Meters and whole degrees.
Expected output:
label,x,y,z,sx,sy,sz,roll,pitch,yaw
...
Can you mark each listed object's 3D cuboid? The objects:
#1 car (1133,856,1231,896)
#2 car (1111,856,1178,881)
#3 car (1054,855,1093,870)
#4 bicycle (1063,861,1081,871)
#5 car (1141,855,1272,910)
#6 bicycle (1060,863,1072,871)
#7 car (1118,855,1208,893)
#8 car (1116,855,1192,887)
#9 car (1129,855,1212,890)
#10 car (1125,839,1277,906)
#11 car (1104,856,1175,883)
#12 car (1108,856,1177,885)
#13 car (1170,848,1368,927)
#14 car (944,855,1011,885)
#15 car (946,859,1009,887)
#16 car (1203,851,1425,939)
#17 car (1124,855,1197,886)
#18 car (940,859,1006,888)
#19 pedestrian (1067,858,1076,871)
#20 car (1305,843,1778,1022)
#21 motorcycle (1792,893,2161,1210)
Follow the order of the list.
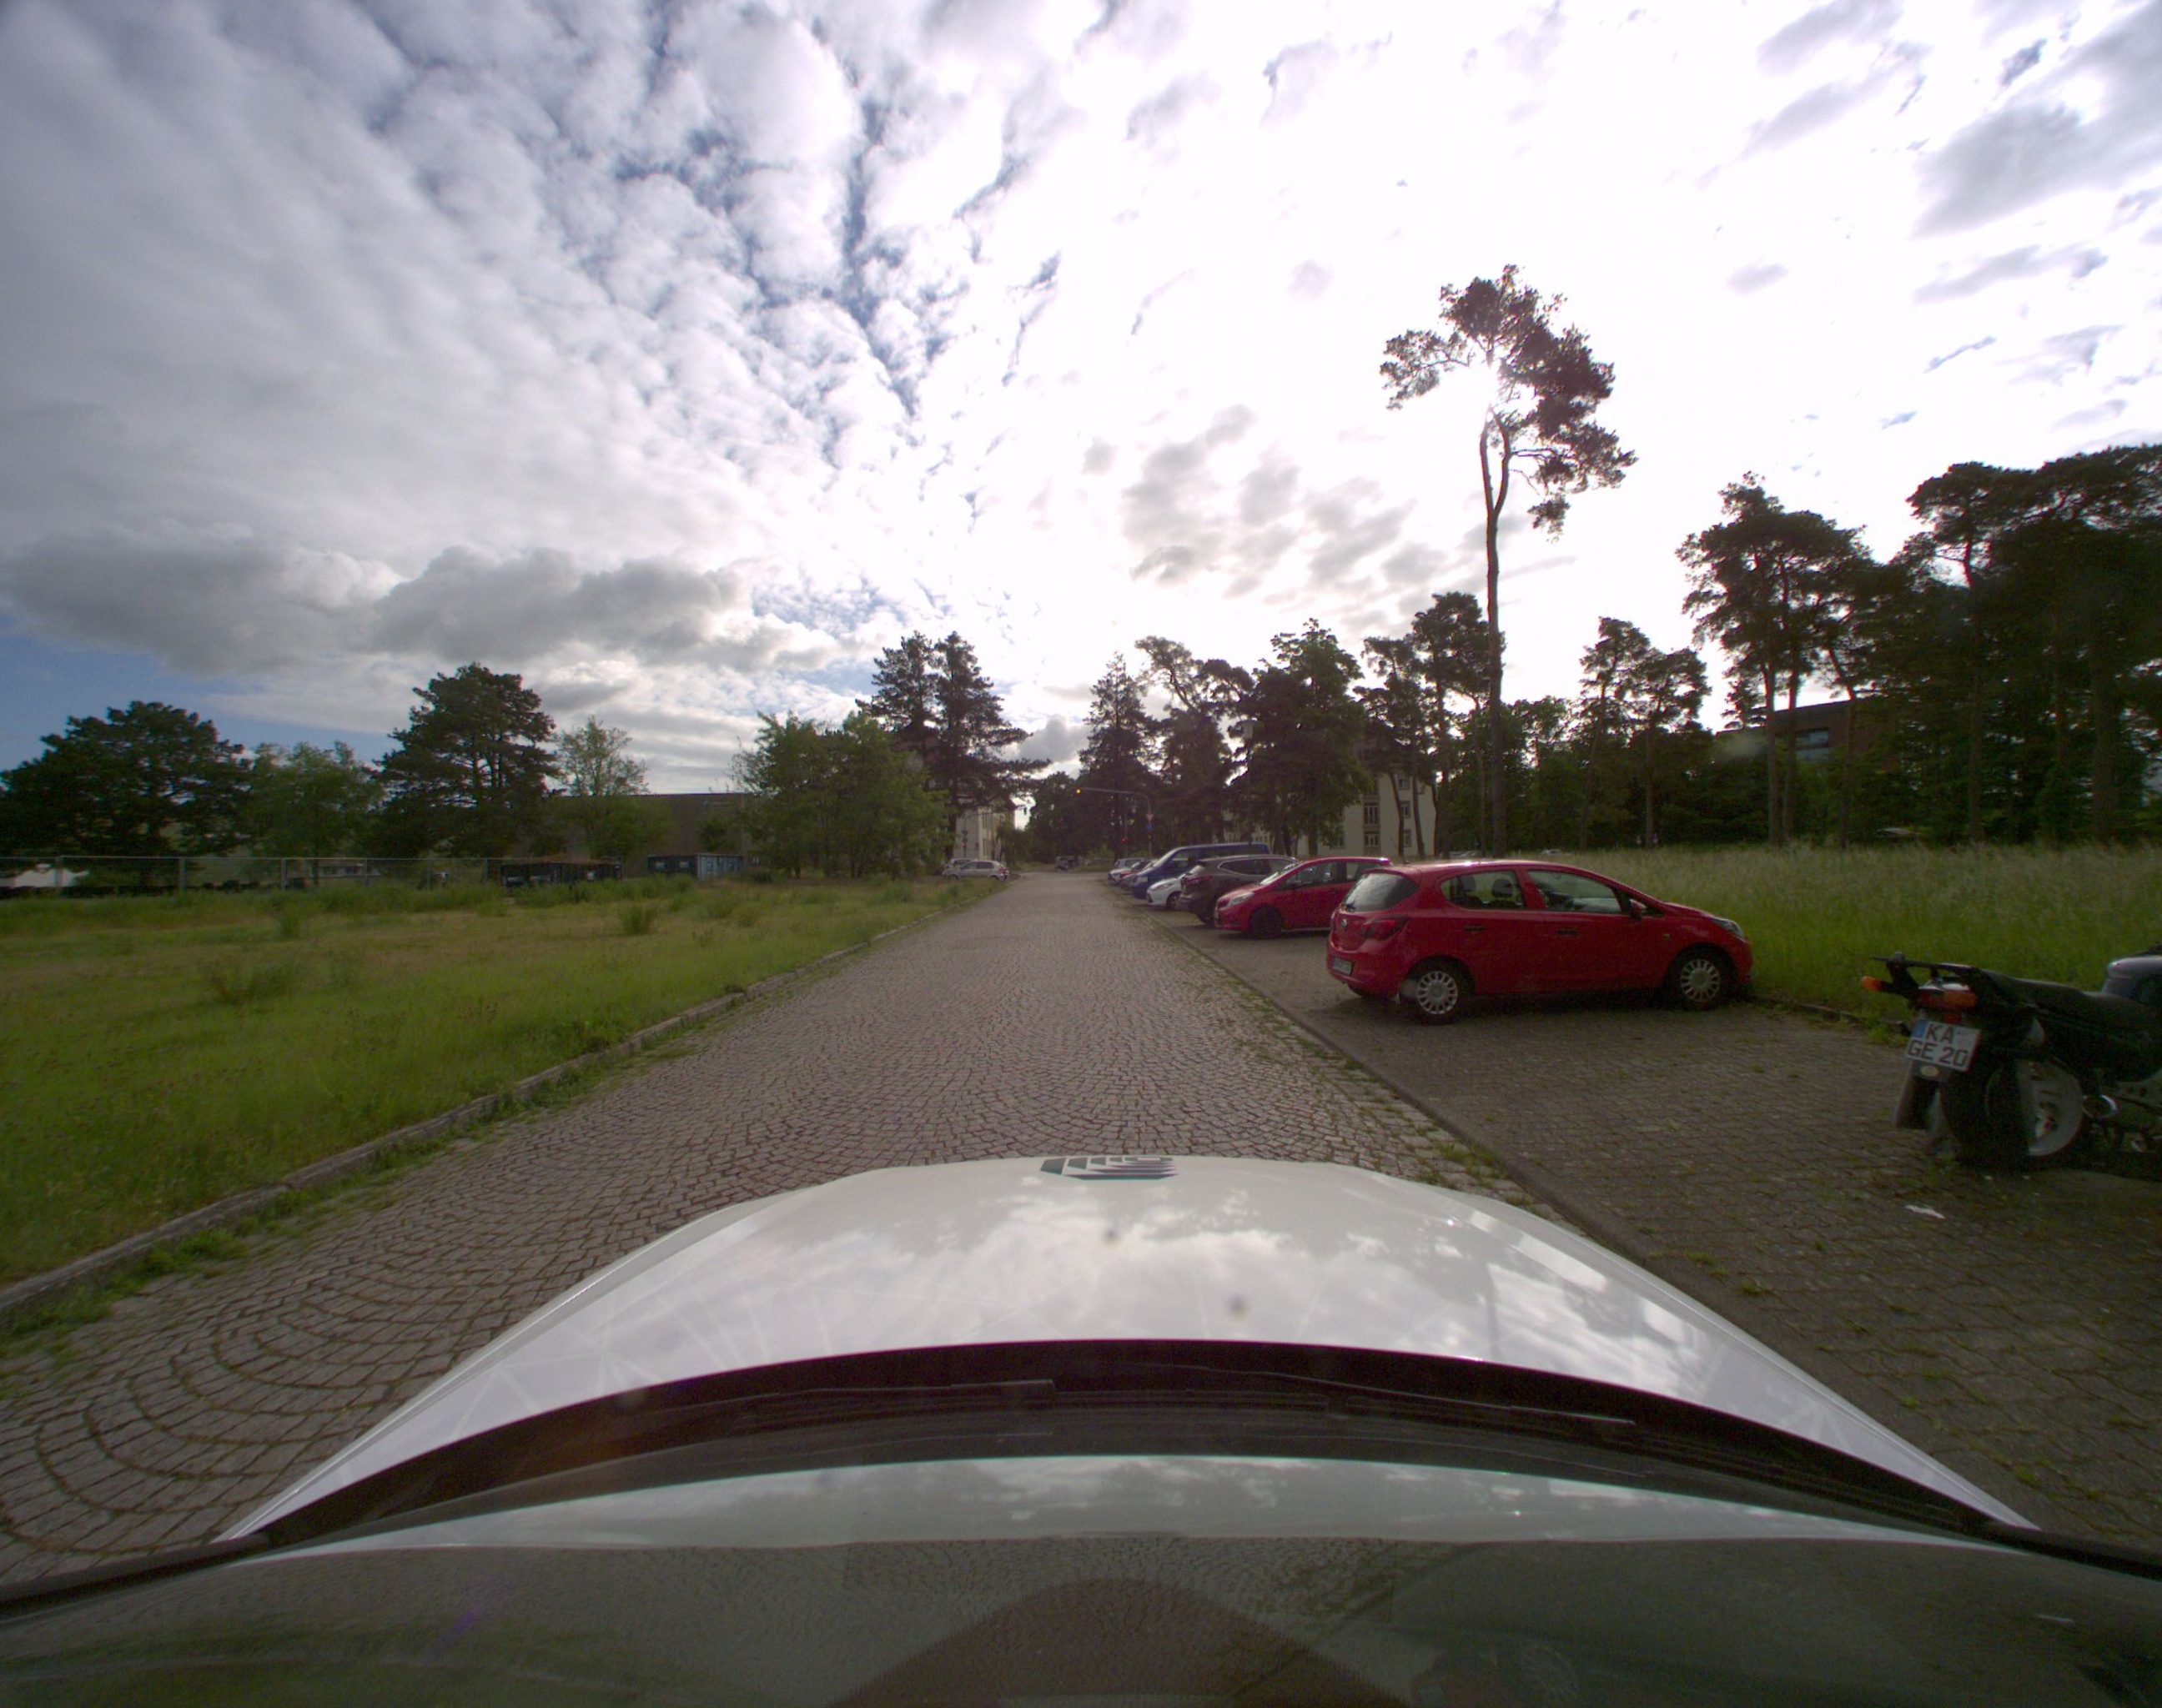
label,x,y,z,sx,sy,sz,roll,pitch,yaw
car,4.019,0.871,32.793,3.664,1.449,1.522,-2,-1,-3
car,3.991,0.917,51.307,3.962,1.421,1.616,-2,-1,-6
car,-1.099,1.219,117.986,5.447,2.014,2.260,0,-1,-11
bicycle,-1.070,1.502,99.746,2.135,1.215,0.620,0,-1,-8
car,3.777,0.849,24.916,3.665,1.449,1.612,-2,-1,-4
bicycle,-1.777,1.578,95.985,0.623,0.945,1.647,0,-1,-29
car,3.547,0.867,35.558,3.664,1.449,1.522,-2,-1,-3
car,3.666,0.865,41.255,3.664,1.449,1.522,-2,-1,-3
car,4.192,0.858,38.565,3.664,1.449,1.522,-2,-1,-3
car,3.970,0.610,27.517,4.744,1.954,1.929,-2,-1,-4
car,3.469,0.928,48.641,3.962,1.421,1.616,-2,-1,-6
car,3.434,0.904,45.785,3.667,1.421,1.521,-2,-1,-6
car,4.189,0.732,18.553,4.020,1.552,1.748,-2,-1,-4
car,-6.994,1.089,55.317,4.251,1.840,1.742,-2,-1,-2
car,-6.590,1.222,52.340,3.812,1.572,1.563,-2,-1,-2
car,4.438,0.768,15.909,3.781,1.460,1.750,-2,-1,-2
car,4.214,0.875,43.556,3.664,1.449,1.522,-2,-1,-3
car,-6.590,1.167,49.924,3.815,1.572,1.562,-2,-1,-5
pedestrian,-1.168,1.284,100.122,1.032,1.614,0.755,0,-1,-8
car,4.464,0.716,8.322,3.816,1.460,1.778,-2,-1,-2
motorcycle,4.810,0.827,3.821,2.322,1.186,0.794,-2,-1,-4
